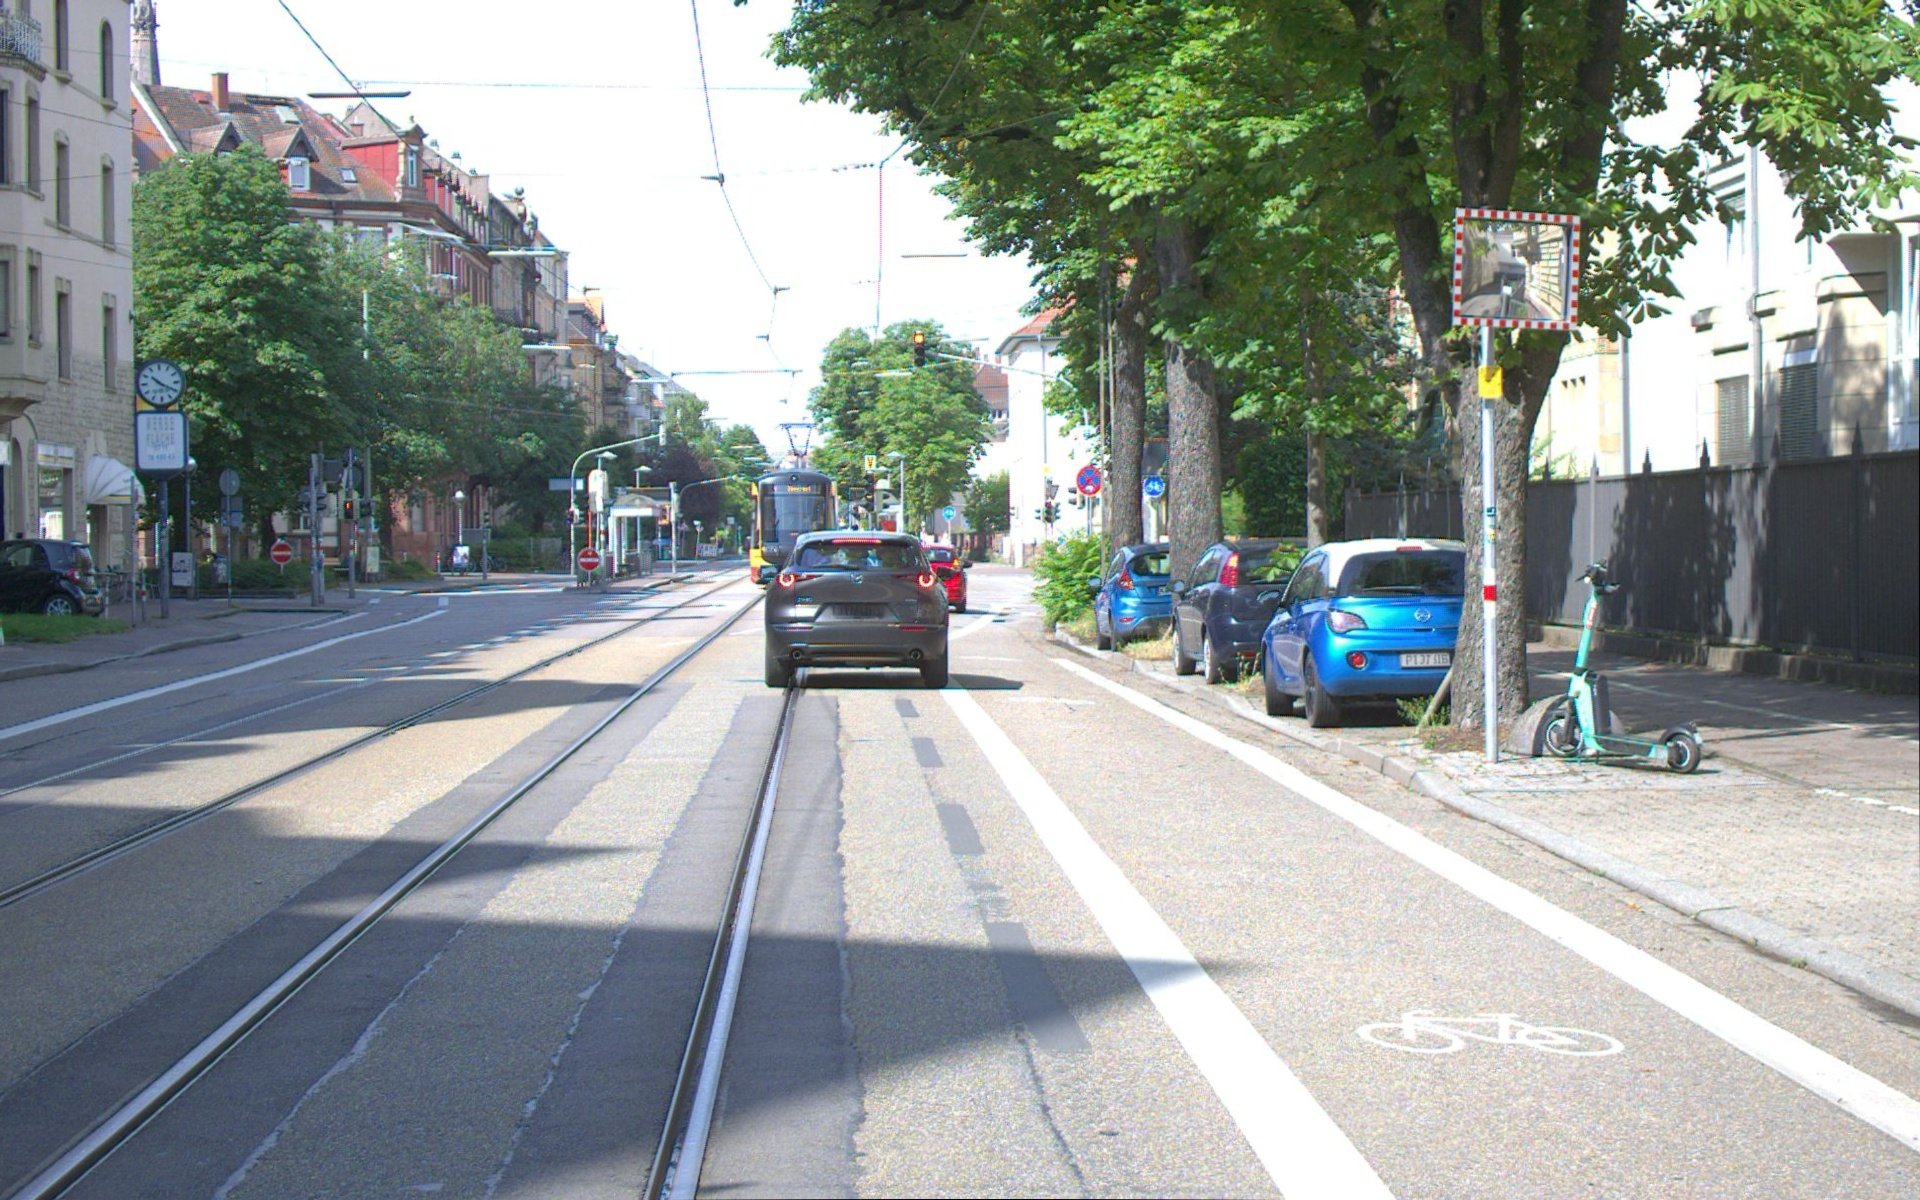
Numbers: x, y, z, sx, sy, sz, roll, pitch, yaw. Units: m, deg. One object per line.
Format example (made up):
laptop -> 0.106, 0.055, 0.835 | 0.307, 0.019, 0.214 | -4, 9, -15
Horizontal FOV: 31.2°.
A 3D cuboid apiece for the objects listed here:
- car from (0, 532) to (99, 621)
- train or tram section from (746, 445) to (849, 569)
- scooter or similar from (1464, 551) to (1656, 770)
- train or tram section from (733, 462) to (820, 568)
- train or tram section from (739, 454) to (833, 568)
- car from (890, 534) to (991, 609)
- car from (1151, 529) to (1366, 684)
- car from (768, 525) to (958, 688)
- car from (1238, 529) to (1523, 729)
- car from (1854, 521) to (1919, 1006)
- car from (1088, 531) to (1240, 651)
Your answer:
car -> -16.875, -0.439, 59.996 | 3.236, 1.508, 1.679 | 1, 1, 1
train or tram section -> -4.936, -2.732, 103.326 | 2.651, 3.515, 8.498 | -1, 1, -5
scooter or similar -> 3.738, 0.359, 21.474 | 0.441, 1.295, 1.182 | -5, 3, -33
train or tram section -> -6.471, -2.912, 120.311 | 2.651, 3.515, 8.498 | -1, 1, -5
train or tram section -> -5.704, -2.828, 111.825 | 2.651, 3.515, 8.498 | -1, 1, -5
car -> -0.447, -0.631, 73.067 | 1.784, 1.487, 4.884 | -1, 1, -5
car -> 3.095, 0.030, 36.304 | 1.639, 1.491, 3.758 | -2, 1, -4
car -> -1.042, 0.019, 34.840 | 1.789, 1.507, 4.351 | 1, 2, -3
car -> 3.399, 0.186, 28.385 | 1.639, 1.491, 3.627 | -2, 1, -4
car -> 4.045, 0.523, 9.679 | 1.696, 1.585, 4.203 | -2, 1, -3
car -> 2.714, -0.156, 46.512 | 1.624, 1.491, 3.848 | -2, 1, -2
